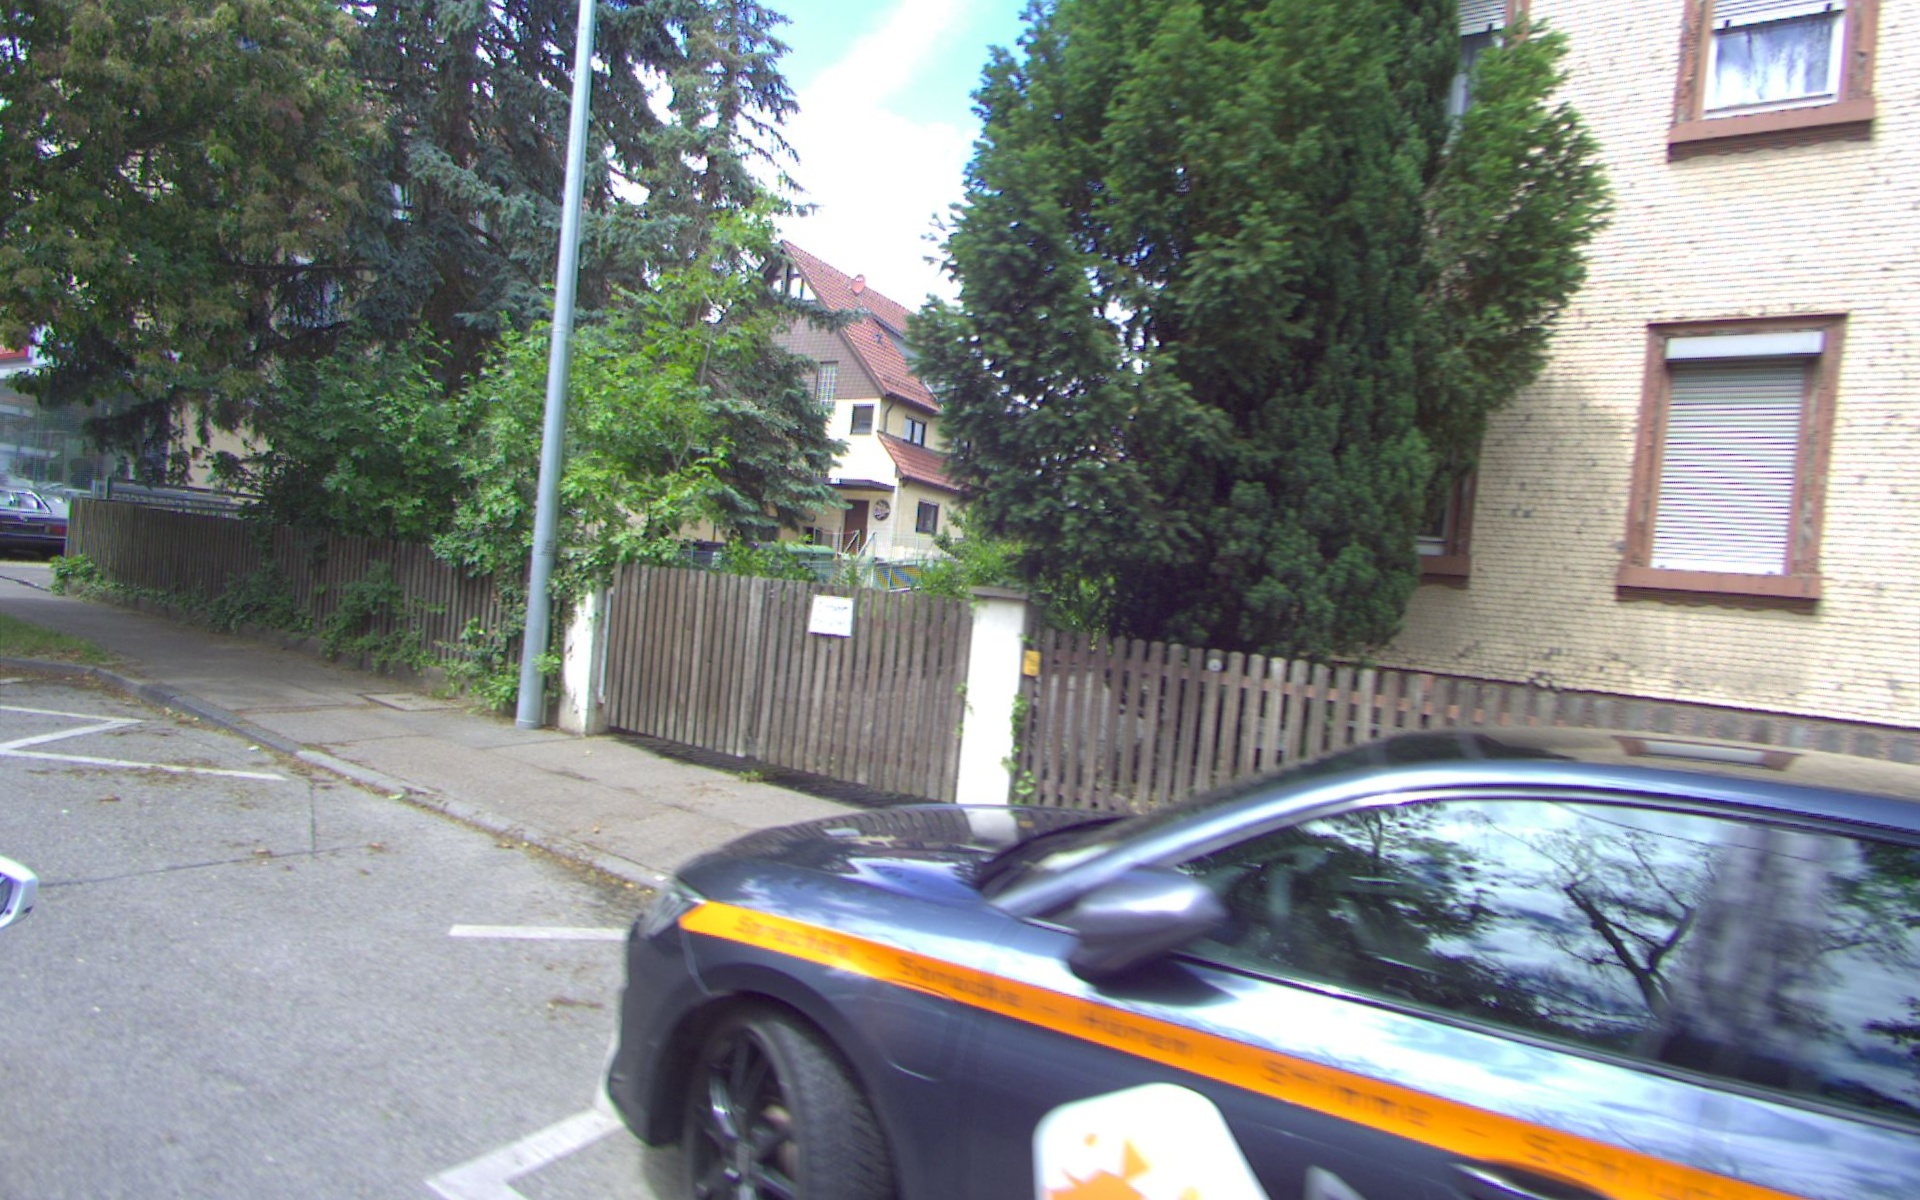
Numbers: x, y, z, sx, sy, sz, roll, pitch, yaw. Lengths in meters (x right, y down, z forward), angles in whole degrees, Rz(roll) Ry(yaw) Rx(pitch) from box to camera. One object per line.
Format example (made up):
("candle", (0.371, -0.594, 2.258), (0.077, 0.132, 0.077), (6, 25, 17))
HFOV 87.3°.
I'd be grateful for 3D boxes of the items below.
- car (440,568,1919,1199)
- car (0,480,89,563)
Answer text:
("car", (1.166, 0.946, 2.169), (4.432, 1.435, 1.827), (7, 0, 29))
("car", (-18.498, -1.641, 18.999), (4.194, 1.333, 1.727), (7, 1, 29))
